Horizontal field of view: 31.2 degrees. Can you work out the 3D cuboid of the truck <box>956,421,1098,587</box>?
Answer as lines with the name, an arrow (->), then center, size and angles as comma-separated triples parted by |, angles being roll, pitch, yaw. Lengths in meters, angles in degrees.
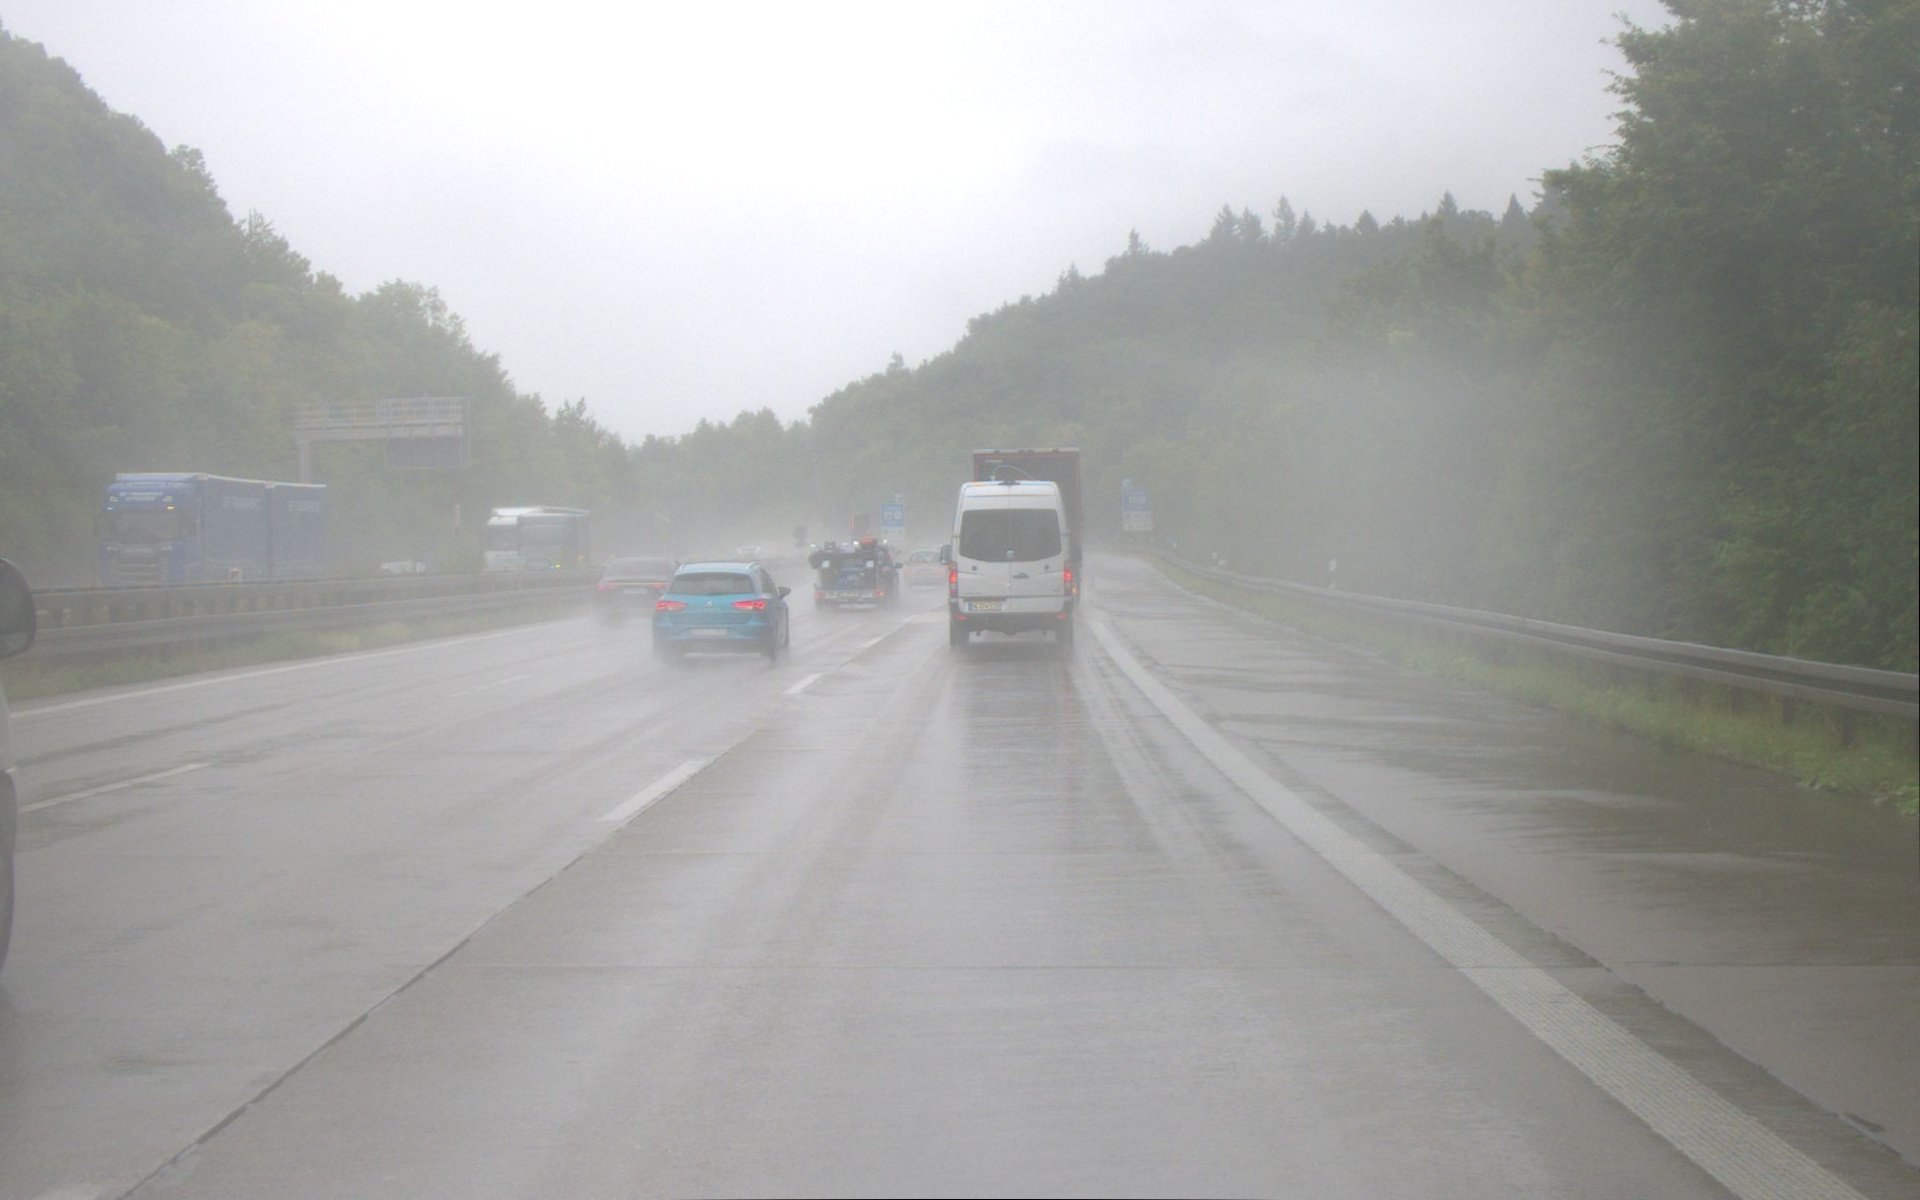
truck -> 1.694, -2.529, 87.061 | 3.385, 3.954, 8.667 | 0, 3, 1

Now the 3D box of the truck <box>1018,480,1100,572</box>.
truck -> 4.452, -3.242, 152.930 | 3.091, 3.896, 9.052 | 2, 1, 4

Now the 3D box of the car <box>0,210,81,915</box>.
car -> -4.243, -0.106, 9.985 | 1.997, 2.423, 5.791 | 2, 1, -2

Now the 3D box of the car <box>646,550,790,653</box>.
car -> -3.439, -0.008, 49.426 | 1.856, 1.334, 4.352 | 2, 1, -2

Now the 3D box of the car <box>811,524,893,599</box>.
car -> -2.690, -0.985, 86.469 | 1.868, 1.804, 4.189 | 2, 1, 0

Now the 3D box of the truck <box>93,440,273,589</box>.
truck -> -23.072, -2.529, 102.658 | 2.848, 4.140, 10.178 | 2, 1, 1

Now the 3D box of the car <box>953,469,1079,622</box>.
car -> 0.883, -0.897, 55.872 | 1.899, 2.326, 5.251 | 2, 1, 0

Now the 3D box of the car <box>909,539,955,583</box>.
car -> -1.053, -1.495, 130.631 | 1.614, 1.622, 4.189 | 2, 1, 0

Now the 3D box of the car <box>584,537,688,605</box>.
car -> -6.802, -0.635, 72.482 | 1.856, 1.334, 4.352 | 2, 1, -1
